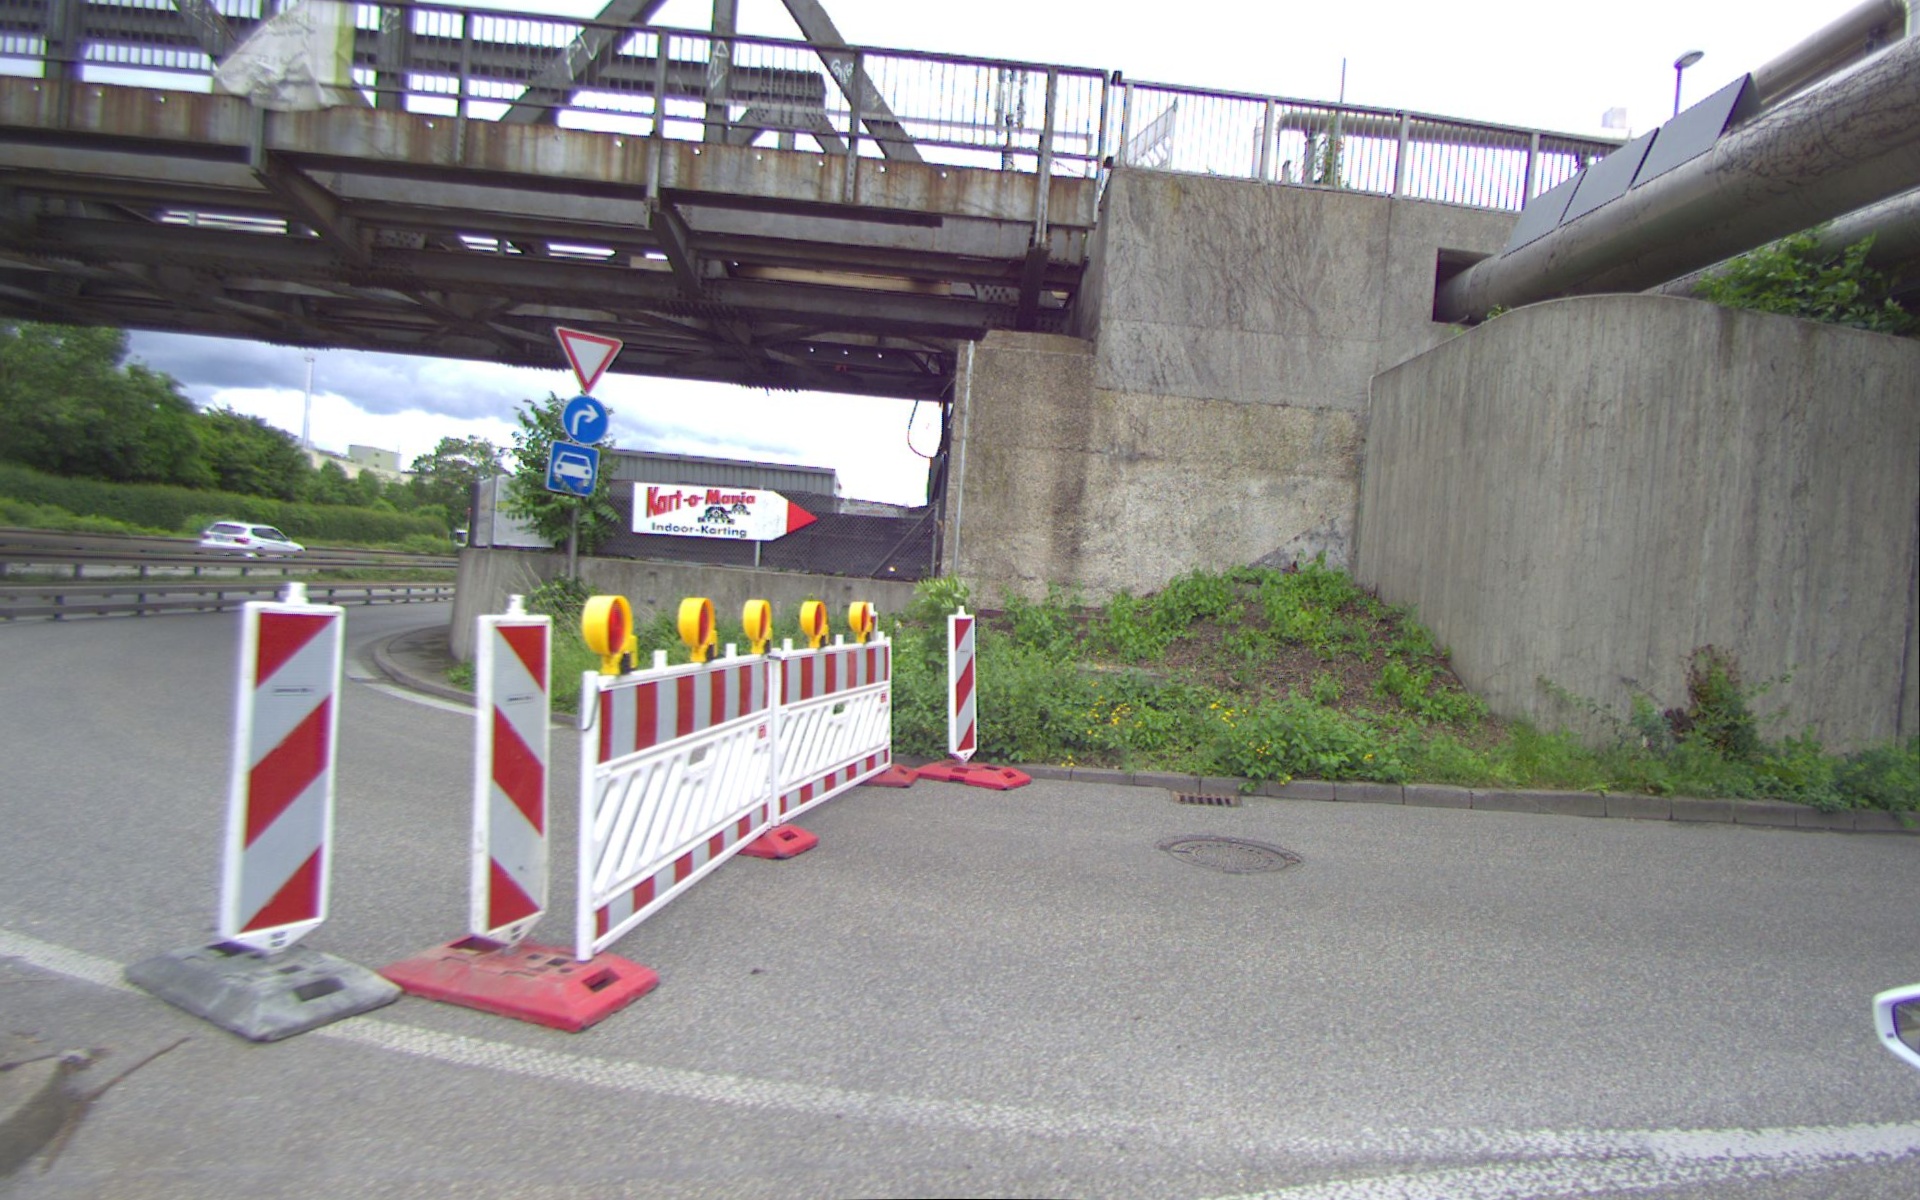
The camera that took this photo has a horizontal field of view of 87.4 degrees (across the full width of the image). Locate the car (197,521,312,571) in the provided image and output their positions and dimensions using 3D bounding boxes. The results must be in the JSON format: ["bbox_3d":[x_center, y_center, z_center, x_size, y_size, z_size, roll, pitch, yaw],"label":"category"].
[{"bbox_3d":[-28.305,-2.117,40.491,1.826,1.661,4.287,6,0,-6],"label":"car"}]

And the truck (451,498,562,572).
[{"bbox_3d":[-26.177,-3.612,58.629,2.909,3.677,10.139,5,1,-8],"label":"truck"}]
